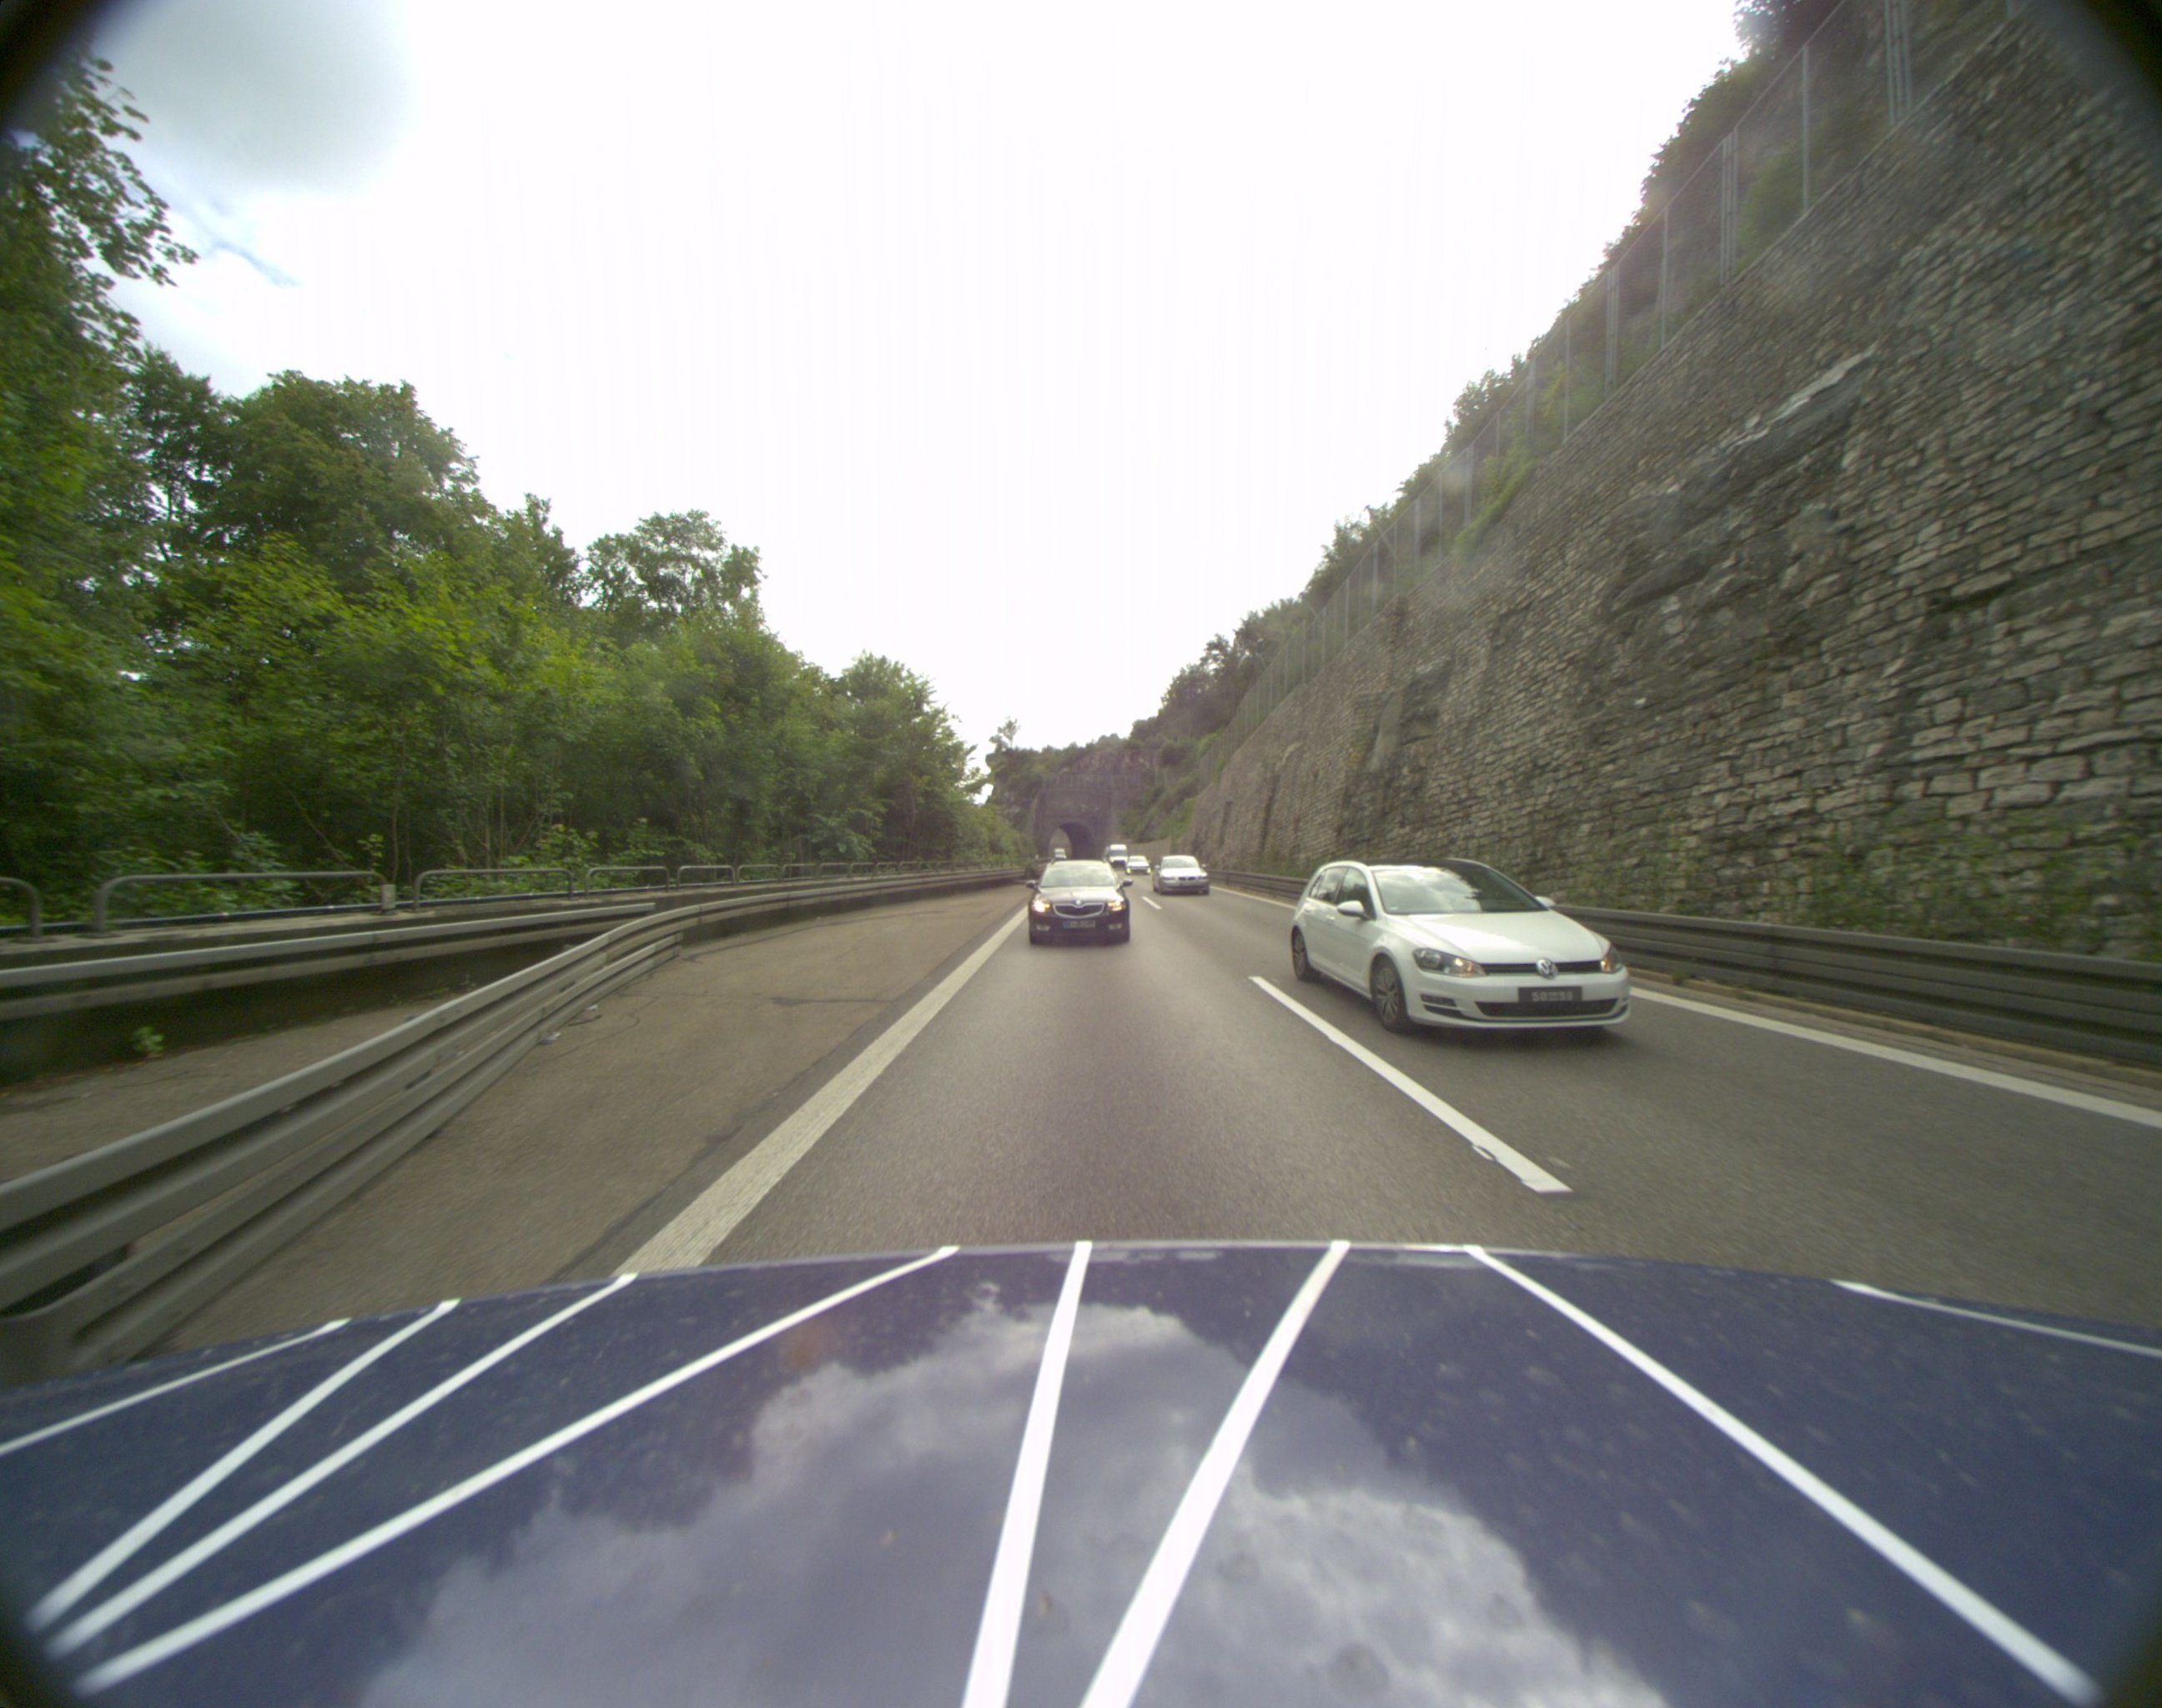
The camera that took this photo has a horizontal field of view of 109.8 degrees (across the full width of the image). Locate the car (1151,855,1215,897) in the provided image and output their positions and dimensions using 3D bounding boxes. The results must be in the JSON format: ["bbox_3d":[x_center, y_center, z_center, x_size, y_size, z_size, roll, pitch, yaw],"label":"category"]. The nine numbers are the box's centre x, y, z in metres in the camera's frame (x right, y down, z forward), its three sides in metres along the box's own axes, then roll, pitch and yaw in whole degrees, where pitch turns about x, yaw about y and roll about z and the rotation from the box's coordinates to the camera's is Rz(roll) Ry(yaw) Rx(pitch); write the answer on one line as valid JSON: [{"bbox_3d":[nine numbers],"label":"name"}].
[{"bbox_3d":[3.892,0.788,29.737,1.832,1.448,5.135,-1,0,0],"label":"car"}]

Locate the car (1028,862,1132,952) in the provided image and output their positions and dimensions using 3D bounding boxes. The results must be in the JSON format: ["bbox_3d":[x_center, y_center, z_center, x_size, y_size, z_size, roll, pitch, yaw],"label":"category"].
[{"bbox_3d":[-0.021,0.897,14.743,1.677,1.418,4.472,-1,0,0],"label":"car"}]

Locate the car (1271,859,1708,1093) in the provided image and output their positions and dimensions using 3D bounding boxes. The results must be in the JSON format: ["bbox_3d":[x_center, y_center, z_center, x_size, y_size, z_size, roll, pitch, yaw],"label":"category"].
[{"bbox_3d":[3.370,0.851,7.498,1.849,1.473,4.627,-1,1,0],"label":"car"}]

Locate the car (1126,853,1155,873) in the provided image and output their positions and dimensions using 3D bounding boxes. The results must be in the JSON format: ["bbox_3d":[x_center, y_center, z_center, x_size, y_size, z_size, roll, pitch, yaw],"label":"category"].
[{"bbox_3d":[4.666,0.681,59.844,1.923,1.452,4.230,-1,0,-1],"label":"car"}]

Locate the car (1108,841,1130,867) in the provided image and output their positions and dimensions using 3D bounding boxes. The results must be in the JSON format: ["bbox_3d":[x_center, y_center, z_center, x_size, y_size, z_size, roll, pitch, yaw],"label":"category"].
[{"bbox_3d":[3.912,-0.030,78.412,1.869,2.444,4.981,-1,2,-1],"label":"car"}]

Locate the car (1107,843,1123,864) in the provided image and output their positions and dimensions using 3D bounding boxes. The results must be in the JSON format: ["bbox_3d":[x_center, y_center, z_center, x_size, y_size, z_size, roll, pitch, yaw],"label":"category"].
[{"bbox_3d":[4.261,-0.063,96.320,1.868,2.444,4.983,-1,2,2],"label":"car"}]

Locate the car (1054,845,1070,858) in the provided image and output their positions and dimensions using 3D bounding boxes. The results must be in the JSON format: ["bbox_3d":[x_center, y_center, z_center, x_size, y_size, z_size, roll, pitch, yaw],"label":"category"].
[{"bbox_3d":[-3.757,-0.404,146.308,2.675,2.408,6.118,-1,0,-4],"label":"car"}]
